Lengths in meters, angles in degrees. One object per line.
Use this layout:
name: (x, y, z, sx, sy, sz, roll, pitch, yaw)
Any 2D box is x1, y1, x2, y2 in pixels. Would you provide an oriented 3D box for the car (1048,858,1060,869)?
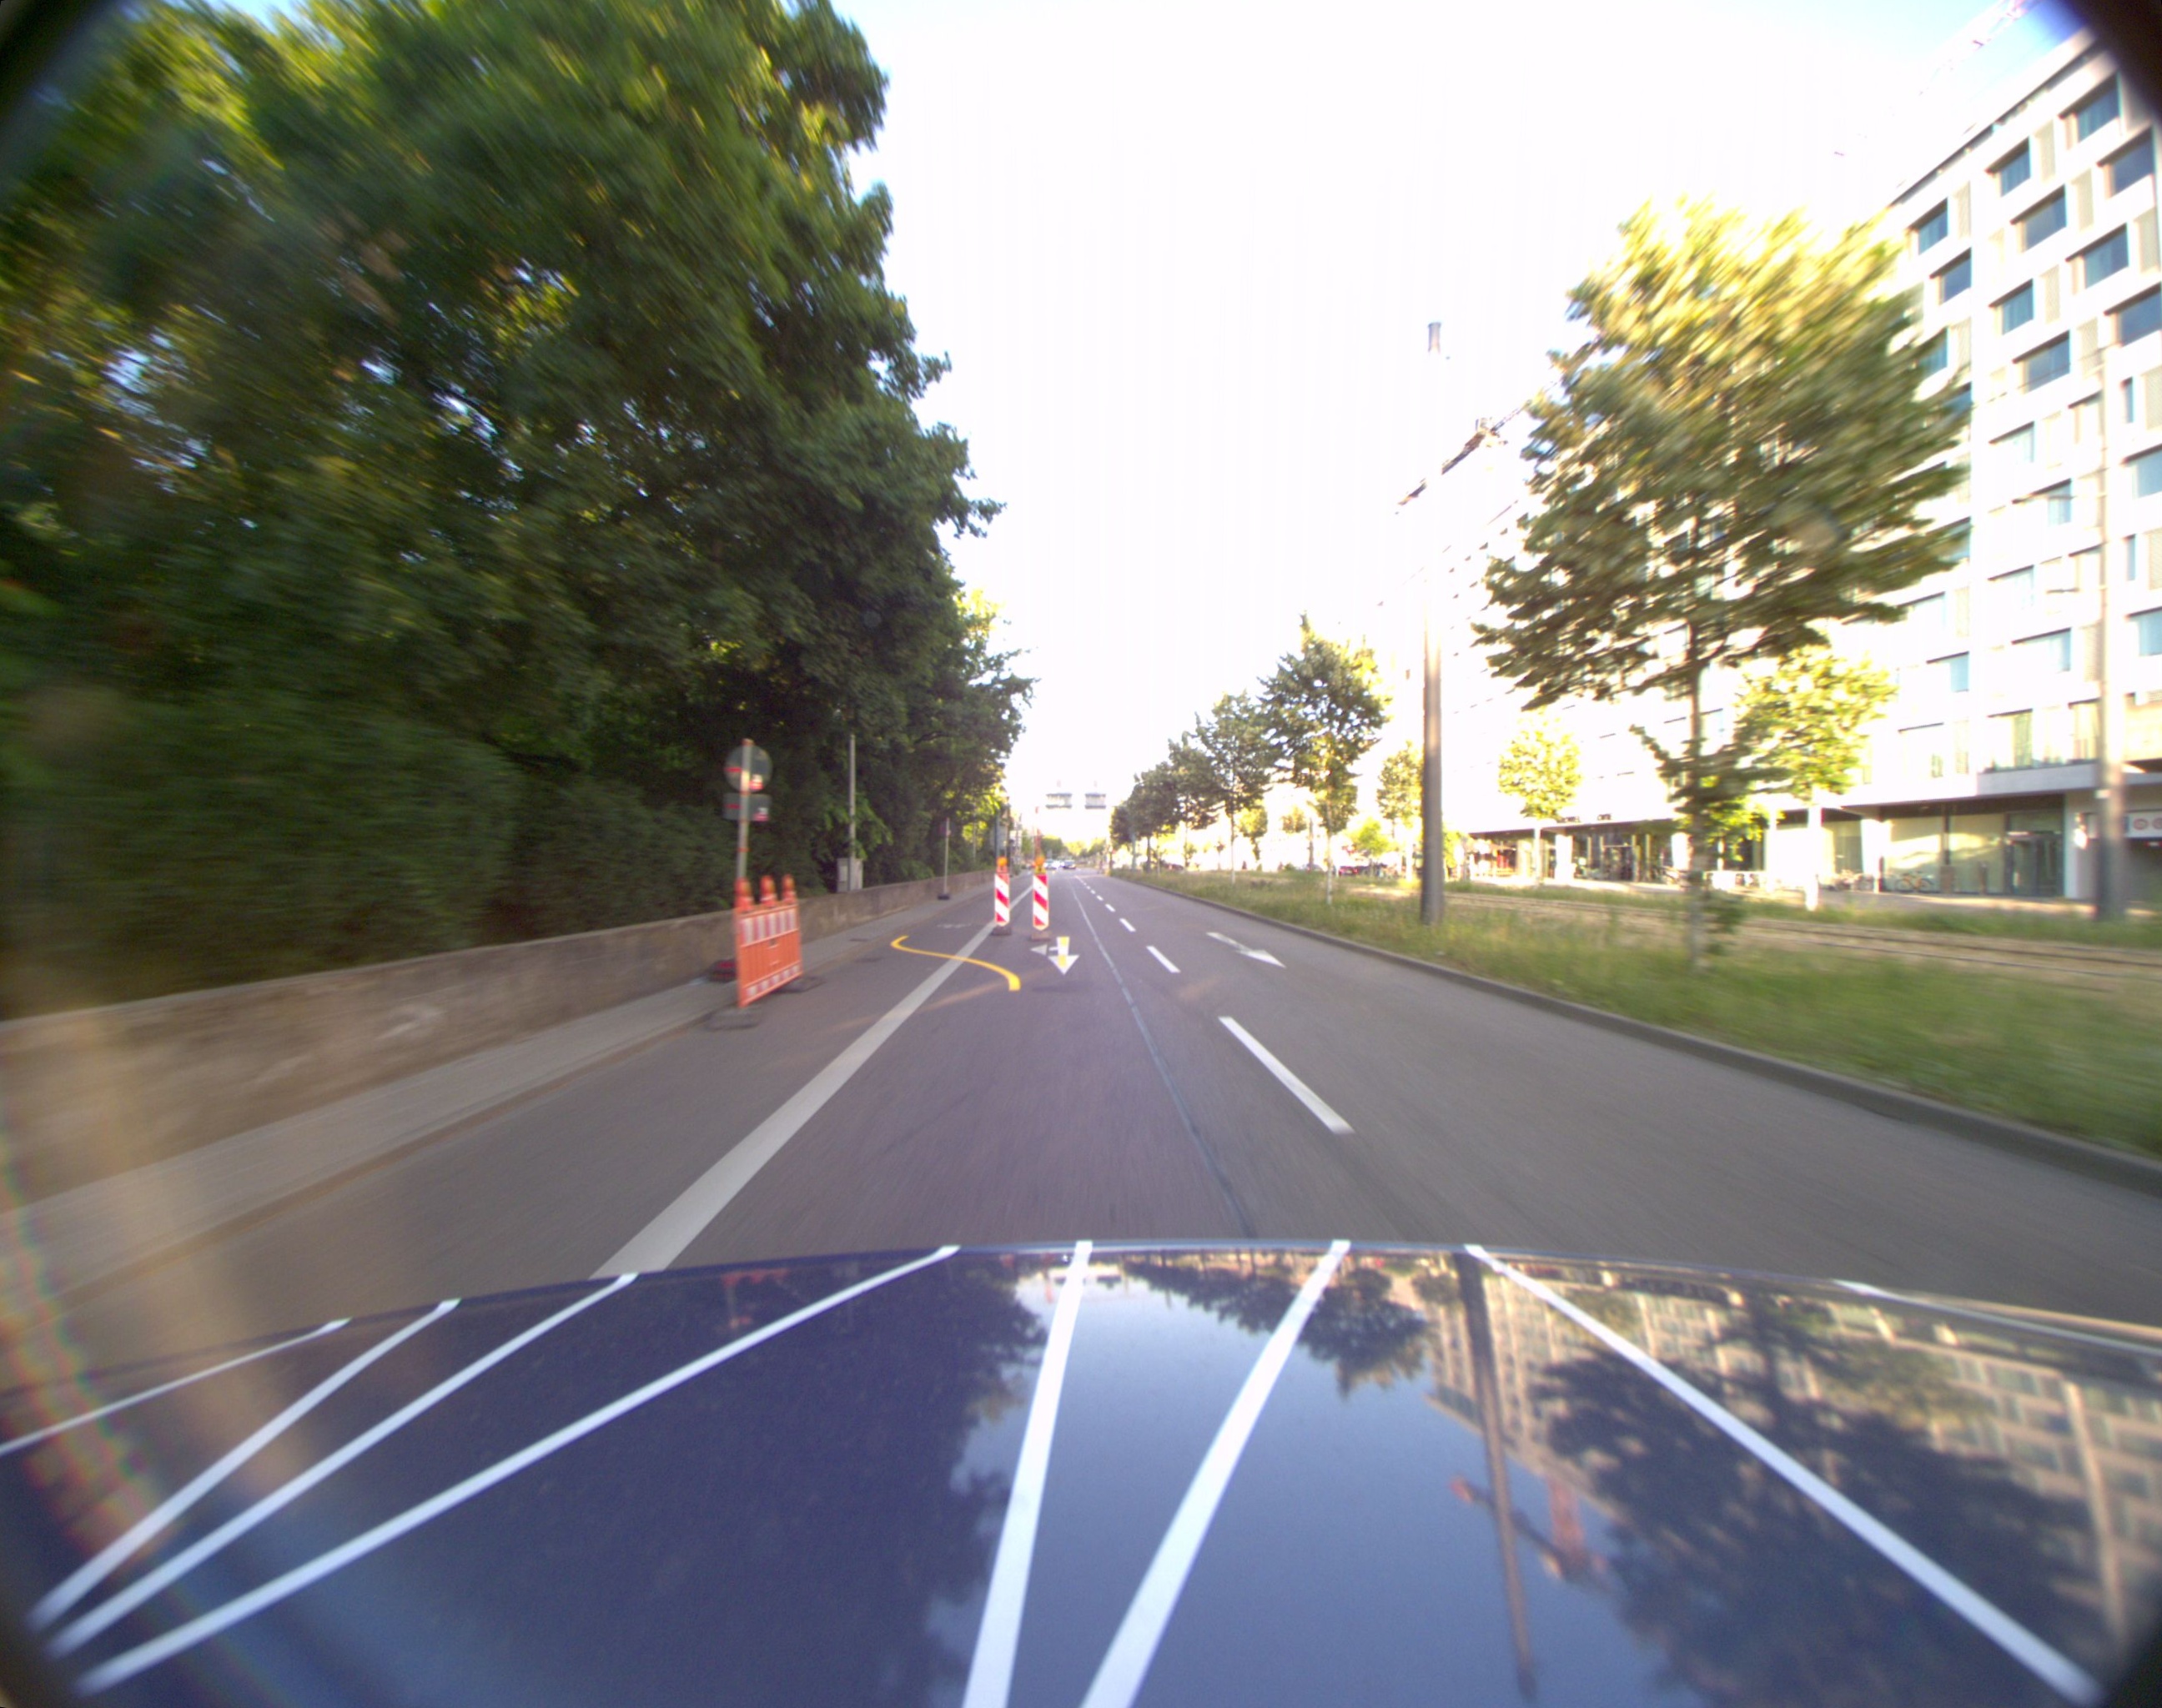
car: (-4.413, 1.540, 123.840, 1.833, 1.588, 4.260, -1, 0, 0)

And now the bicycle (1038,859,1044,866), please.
bicycle: (-6.450, 1.314, 121.332, 0.721, 1.045, 2.044, -2, 1, 2)

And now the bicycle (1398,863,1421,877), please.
bicycle: (29.656, 1.452, 68.579, 1.914, 1.192, 0.443, -1, 0, -5)

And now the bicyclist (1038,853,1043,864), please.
bicyclist: (-6.475, 0.777, 120.967, 0.705, 1.690, 0.768, -1, -1, 1)

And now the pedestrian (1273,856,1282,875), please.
pedestrian: (21.720, 1.275, 84.005, 0.833, 2.002, 0.854, 0, 0, 2)

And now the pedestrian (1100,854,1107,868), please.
pedestrian: (2.497, 0.792, 84.011, 0.580, 1.495, 0.619, 2, 0, 9)

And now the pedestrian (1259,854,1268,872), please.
pedestrian: (19.901, 1.001, 82.726, 0.680, 1.912, 0.708, -5, 0, 1)

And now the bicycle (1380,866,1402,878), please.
bicycle: (29.340, 1.704, 71.866, 1.914, 1.053, 0.443, -1, 0, -5)

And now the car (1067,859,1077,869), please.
car: (-1.440, 1.676, 124.798, 1.702, 1.588, 4.260, -1, 0, 0)

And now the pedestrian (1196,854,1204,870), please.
pedestrian: (13.409, 0.912, 85.539, 0.708, 1.825, 0.762, -2, 0, -3)

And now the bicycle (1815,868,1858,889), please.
bicycle: (36.885, 1.207, 37.094, 1.793, 1.014, 0.421, 0, 0, -5)

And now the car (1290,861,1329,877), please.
car: (21.358, 1.370, 71.264, 2.020, 1.432, 4.801, 2, -1, -2)

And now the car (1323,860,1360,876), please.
car: (24.333, 1.294, 71.163, 1.890, 1.431, 4.223, 0, 0, -3)

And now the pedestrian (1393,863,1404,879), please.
pedestrian: (32.394, 1.698, 77.579, 0.682, 1.594, 0.707, -2, 0, -37)

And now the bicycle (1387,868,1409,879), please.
bicycle: (29.432, 1.808, 70.555, 1.914, 1.053, 0.443, -1, 0, -5)

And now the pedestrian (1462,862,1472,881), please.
pedestrian: (31.724, 1.440, 62.446, 0.498, 1.590, 0.603, -2, 0, 0)

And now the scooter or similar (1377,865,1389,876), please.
scooter or similar: (29.611, 1.604, 74.525, 0.974, 1.079, 0.338, -2, 3, -1)

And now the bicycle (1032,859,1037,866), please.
bicycle: (-7.411, 1.337, 121.346, 0.528, 1.045, 2.047, 2, 1, 2)

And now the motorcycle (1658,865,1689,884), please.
motorcycle: (37.096, 1.265, 47.591, 1.899, 1.164, 0.515, -1, 0, -17)

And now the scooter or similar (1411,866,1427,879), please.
scooter or similar: (29.358, 1.582, 66.016, 1.185, 1.051, 0.338, -4, -1, -1)

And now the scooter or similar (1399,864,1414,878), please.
scooter or similar: (29.644, 1.540, 69.248, 1.185, 1.210, 0.338, 0, 1, -1)
